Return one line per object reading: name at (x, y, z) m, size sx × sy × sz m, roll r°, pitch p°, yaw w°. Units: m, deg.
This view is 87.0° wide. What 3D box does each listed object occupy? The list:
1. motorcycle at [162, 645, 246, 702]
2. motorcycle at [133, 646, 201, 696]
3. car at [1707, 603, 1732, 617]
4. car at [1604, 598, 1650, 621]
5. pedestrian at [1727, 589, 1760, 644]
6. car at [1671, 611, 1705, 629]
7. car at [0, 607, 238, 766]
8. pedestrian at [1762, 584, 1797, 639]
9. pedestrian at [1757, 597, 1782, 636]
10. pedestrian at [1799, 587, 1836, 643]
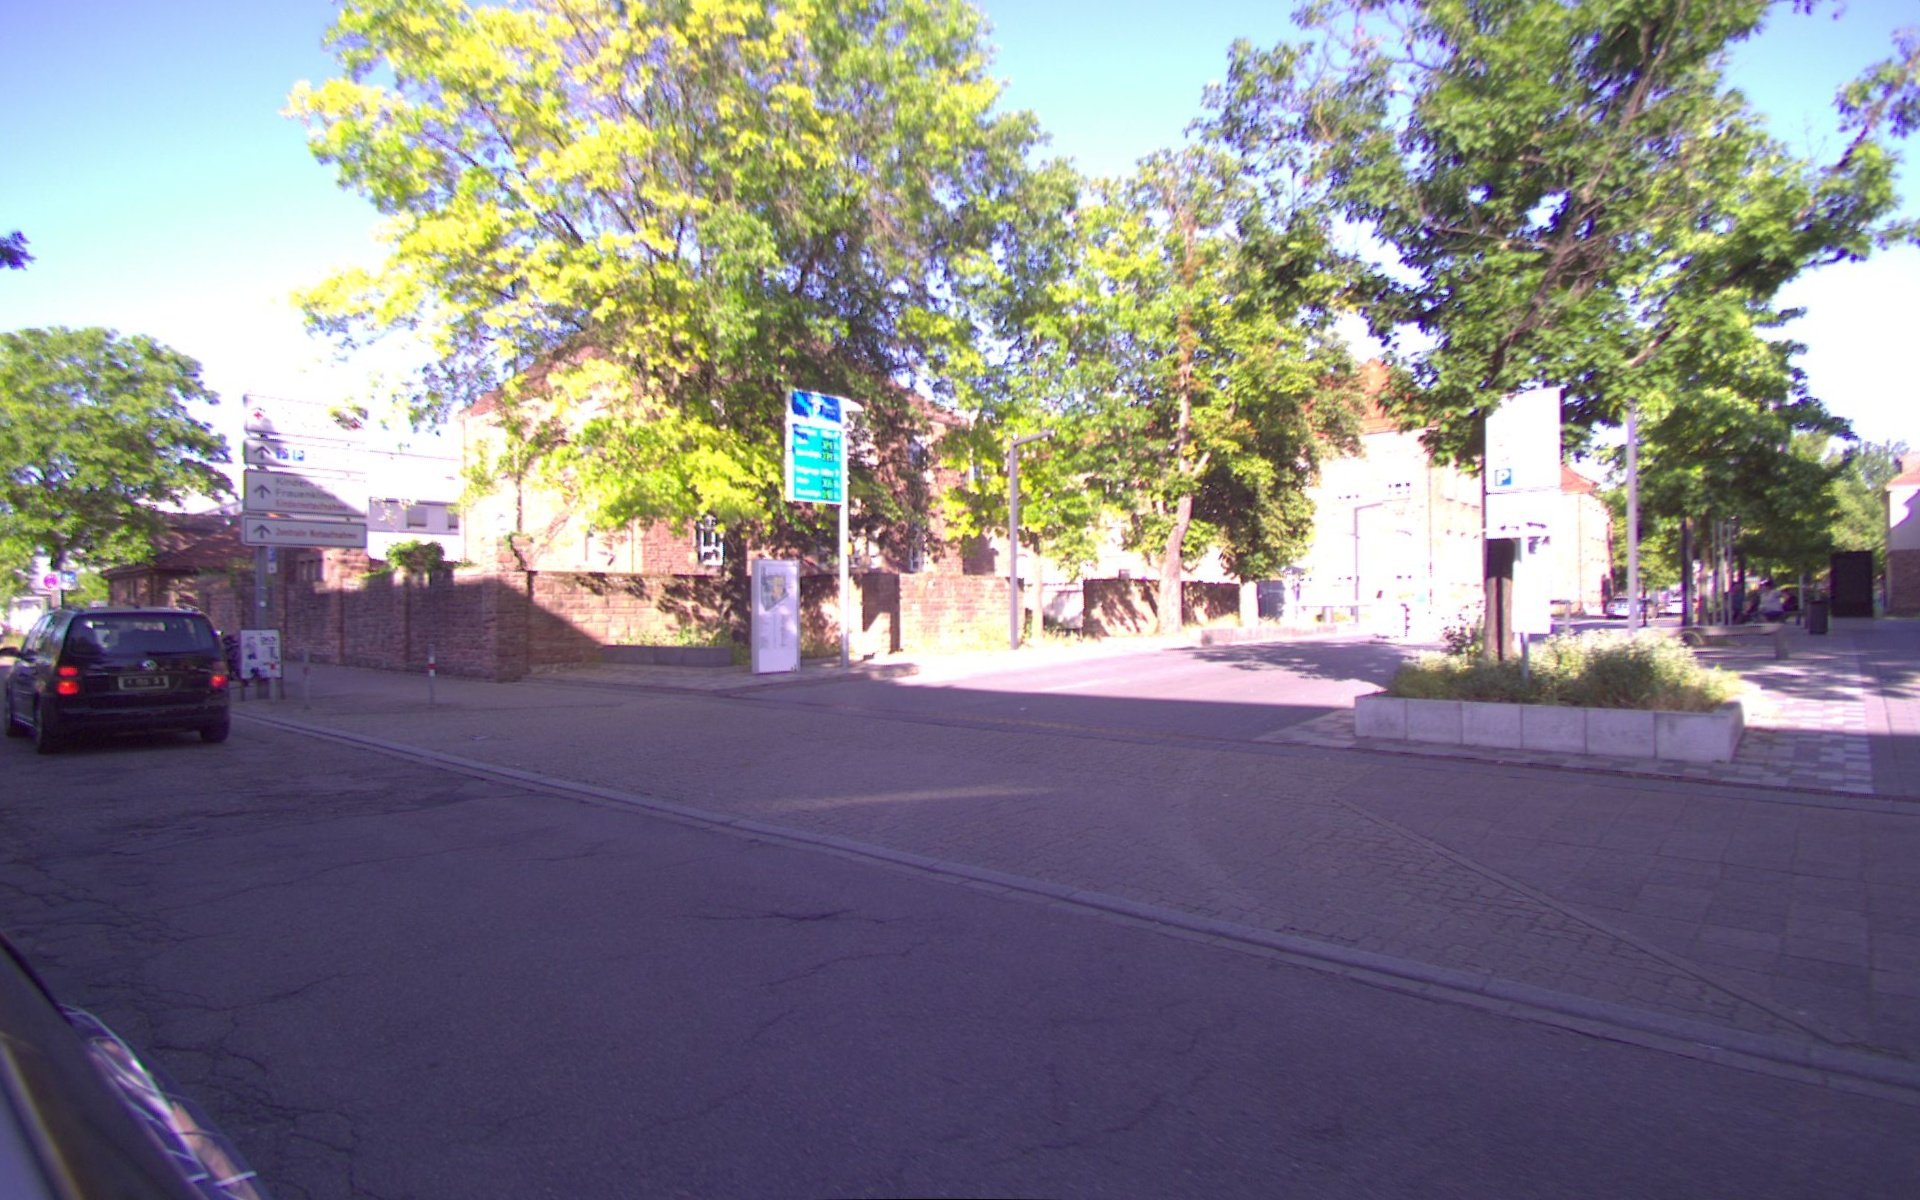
motorcycle at (-15.230, 1.452, 20.444) m, size 0.591 × 1.040 × 2.133 m, roll -1°, pitch -1°, yaw -14°
motorcycle at (-18.603, 1.645, 23.780) m, size 0.523 × 1.047 × 2.097 m, roll -2°, pitch 0°, yaw -17°
car at (80.883, 1.079, 107.731) m, size 1.738 × 1.334 × 3.026 m, roll -2°, pitch 0°, yaw 45°
car at (40.275, 0.576, 61.112) m, size 1.738 × 1.334 × 3.026 m, roll -2°, pitch 0°, yaw 45°
pedestrian at (20.103, 0.412, 25.965) m, size 0.609 × 1.390 × 0.565 m, roll -2°, pitch 0°, yaw 35°
car at (58.533, 1.626, 81.401) m, size 1.738 × 1.334 × 3.026 m, roll -2°, pitch -1°, yaw 45°
car at (-10.380, 0.959, 12.283) m, size 4.017 × 1.623 × 1.627 m, roll -2°, pitch -3°, yaw 40°
pedestrian at (20.676, 0.278, 25.536) m, size 0.609 × 1.363 × 0.565 m, roll -2°, pitch 0°, yaw 35°
pedestrian at (27.829, 0.561, 34.797) m, size 0.609 × 1.328 × 0.564 m, roll -2°, pitch 0°, yaw 37°
pedestrian at (21.209, 0.373, 25.040) m, size 0.609 × 1.363 × 0.565 m, roll -1°, pitch 0°, yaw 35°
